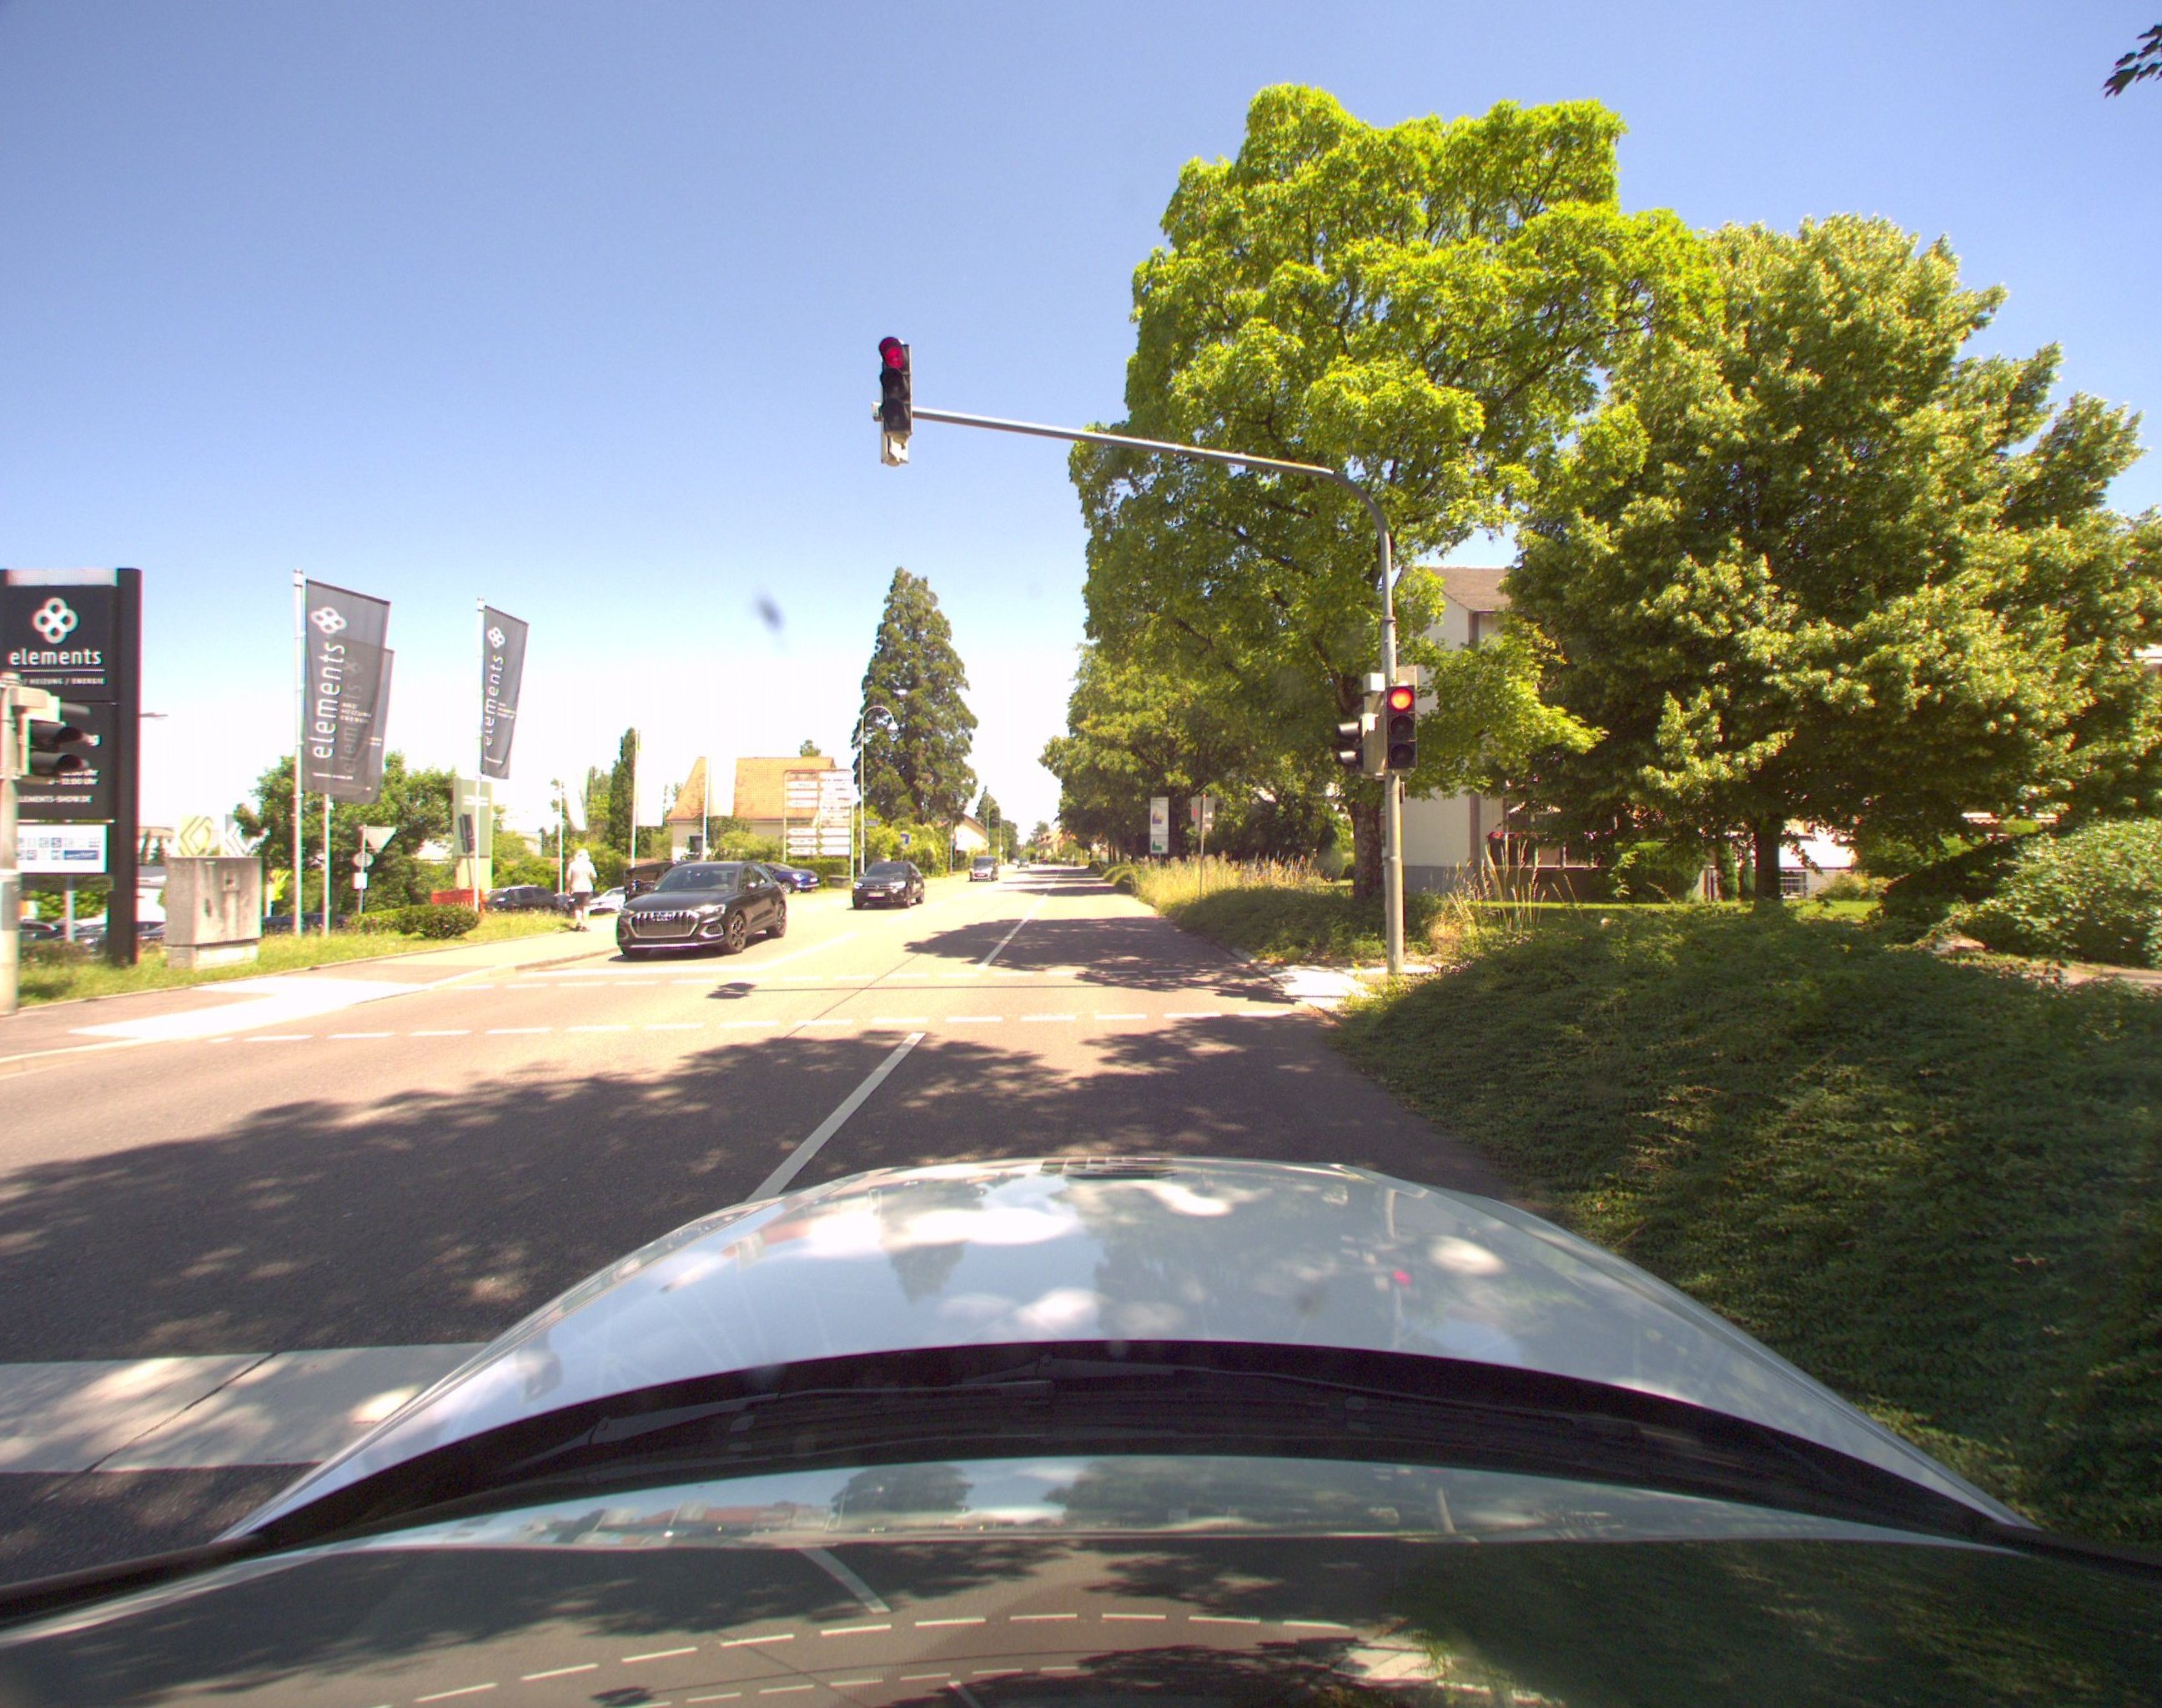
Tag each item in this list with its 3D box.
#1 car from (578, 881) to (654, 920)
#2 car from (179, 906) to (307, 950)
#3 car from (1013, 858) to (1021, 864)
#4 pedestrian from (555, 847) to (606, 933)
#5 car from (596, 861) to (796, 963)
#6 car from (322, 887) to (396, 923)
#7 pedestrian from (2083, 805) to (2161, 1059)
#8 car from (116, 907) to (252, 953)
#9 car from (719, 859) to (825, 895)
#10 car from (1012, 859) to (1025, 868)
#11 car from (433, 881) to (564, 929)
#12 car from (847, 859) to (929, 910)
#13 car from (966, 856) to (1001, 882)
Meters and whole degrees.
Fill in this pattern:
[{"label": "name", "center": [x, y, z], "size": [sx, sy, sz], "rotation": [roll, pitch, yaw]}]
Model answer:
[{"label": "car", "center": [-23.392, 2.290, 41.160], "size": [1.806, 1.722, 4.081], "rotation": [0, 0, -6]}, {"label": "car", "center": [-34.297, 2.995, 33.480], "size": [1.647, 1.415, 3.855], "rotation": [-1, 0, -9]}, {"label": "car", "center": [-18.239, 2.060, 232.098], "size": [1.675, 1.684, 4.000], "rotation": [-1, 0, 1]}, {"label": "pedestrian", "center": [-10.499, 0.743, 17.095], "size": [0.538, 1.761, 0.706], "rotation": [-1, -1, 28]}, {"label": "car", "center": [-6.855, 0.938, 15.072], "size": [1.923, 1.555, 4.295], "rotation": [-1, 0, -5]}, {"label": "car", "center": [-39.858, 2.761, 45.078], "size": [1.816, 1.722, 4.059], "rotation": [0, 0, -22]}, {"label": "pedestrian", "center": [7.304, 0.497, 5.213], "size": [0.717, 1.633, 0.849], "rotation": [-1, -1, -7]}, {"label": "car", "center": [-37.134, 3.104, 33.876], "size": [1.754, 1.486, 3.983], "rotation": [-1, 0, -12]}, {"label": "car", "center": [-13.909, 1.039, 36.713], "size": [4.109, 1.504, 1.782], "rotation": [-1, 0, 10]}, {"label": "car", "center": [-10.201, 1.555, 132.972], "size": [1.788, 1.536, 4.313], "rotation": [-1, 0, -1]}, {"label": "car", "center": [-23.687, 2.040, 33.325], "size": [1.795, 1.722, 4.106], "rotation": [-1, 0, 16]}, {"label": "car", "center": [-6.258, 0.949, 26.847], "size": [1.864, 1.507, 4.049], "rotation": [-1, 0, -2]}, {"label": "car", "center": [-6.911, 1.021, 58.039], "size": [1.804, 1.762, 4.571], "rotation": [0, 0, 1]}]
